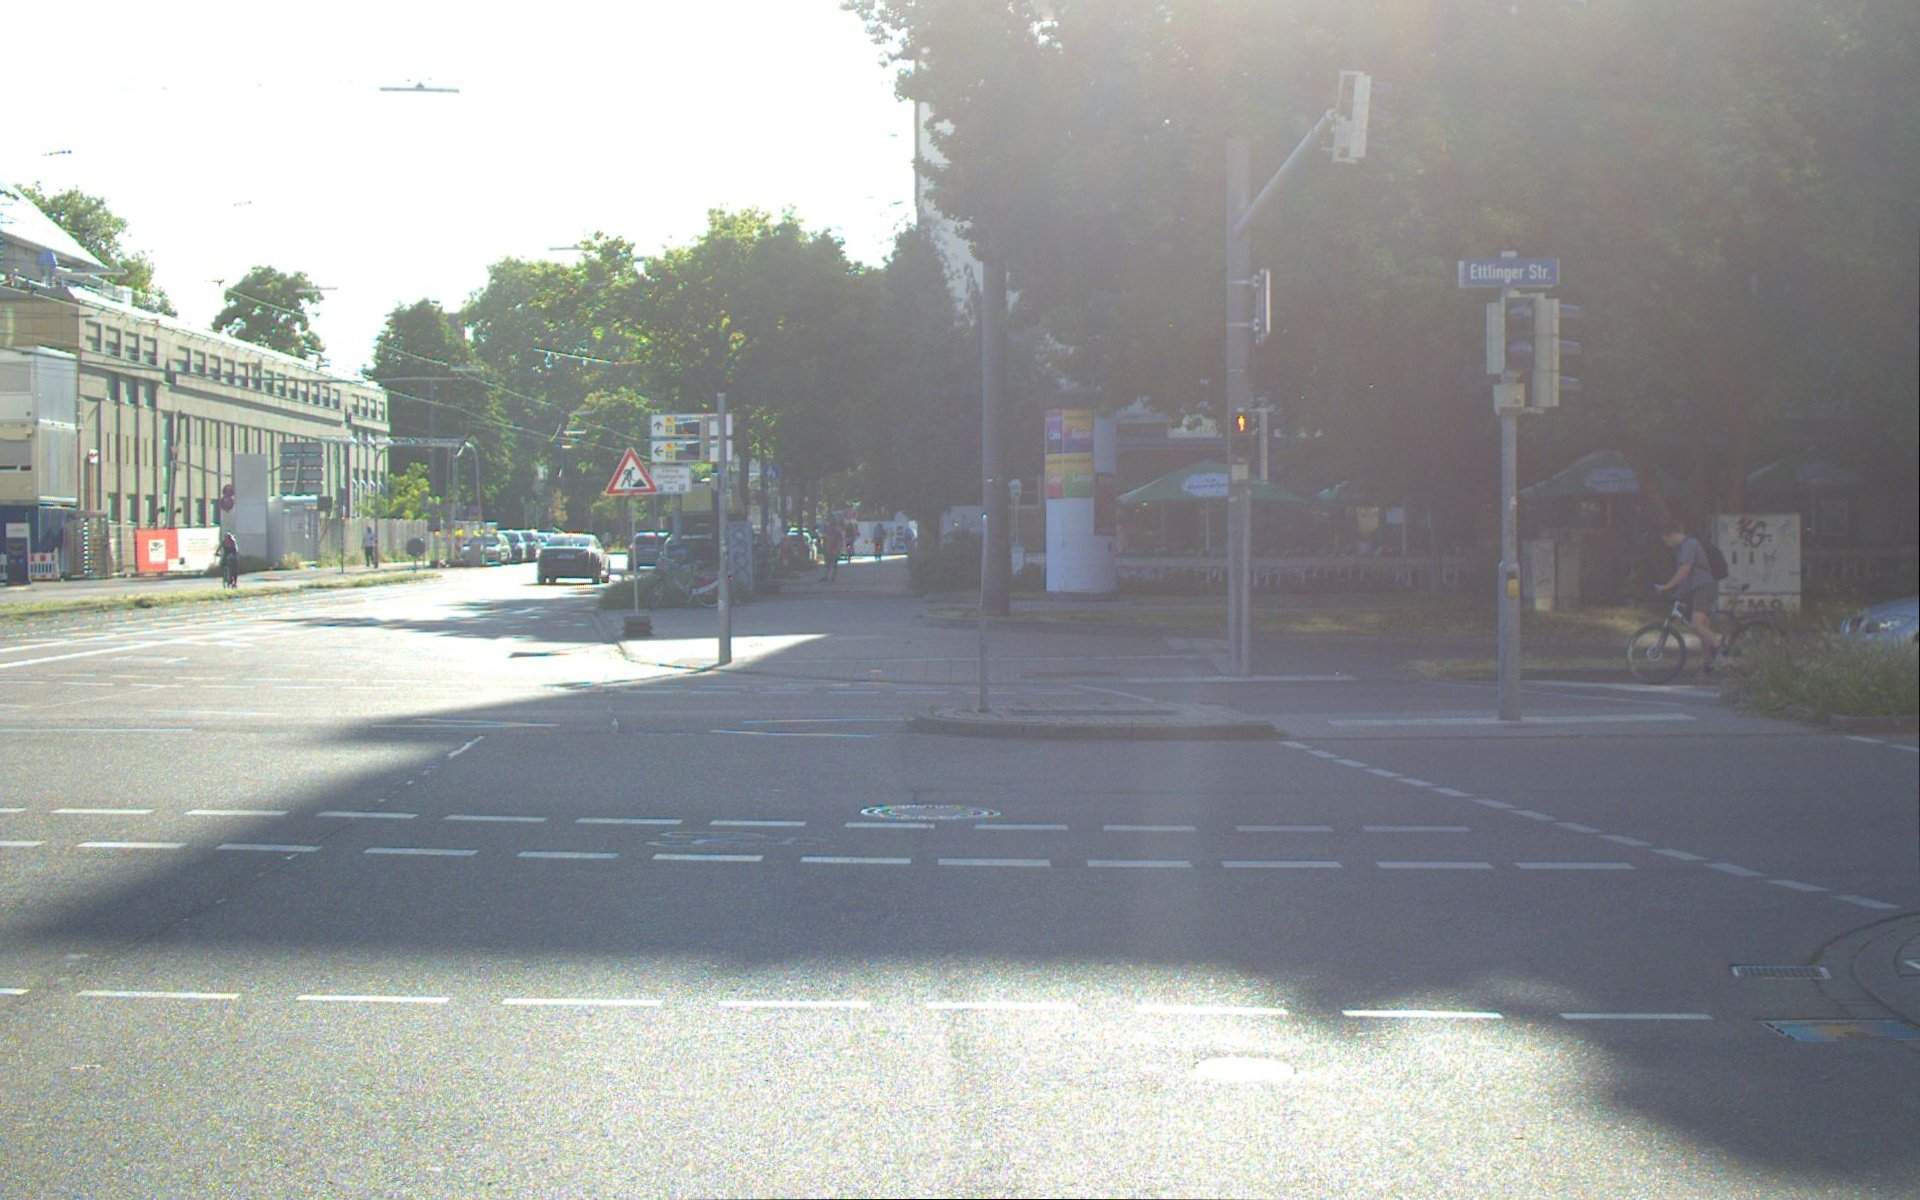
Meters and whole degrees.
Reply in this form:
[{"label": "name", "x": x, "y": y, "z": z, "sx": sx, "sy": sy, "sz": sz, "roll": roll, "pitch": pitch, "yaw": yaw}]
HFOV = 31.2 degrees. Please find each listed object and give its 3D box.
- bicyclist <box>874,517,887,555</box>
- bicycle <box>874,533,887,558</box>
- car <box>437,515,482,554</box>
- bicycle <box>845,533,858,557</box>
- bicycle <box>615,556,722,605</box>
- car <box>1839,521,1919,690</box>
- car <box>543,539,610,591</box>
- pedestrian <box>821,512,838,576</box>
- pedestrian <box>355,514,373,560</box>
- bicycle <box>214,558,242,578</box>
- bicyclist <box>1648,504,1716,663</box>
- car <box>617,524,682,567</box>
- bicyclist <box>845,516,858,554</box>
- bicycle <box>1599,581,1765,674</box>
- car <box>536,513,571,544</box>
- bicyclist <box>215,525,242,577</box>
[{"label": "bicyclist", "x": -3.525, "y": -2.846, "z": 153.232, "sx": 0.569, "sy": 1.685, "sz": 0.700, "roll": 0, "pitch": 1, "yaw": -1}, {"label": "bicycle", "x": -3.532, "y": -2.435, "z": 153.204, "sx": 0.575, "sy": 1.073, "sz": 1.831, "roll": 0, "pitch": 1, "yaw": -1}, {"label": "car", "x": -22.765, "y": -2.962, "z": 156.440, "sx": 1.692, "sy": 1.712, "sz": 4.248, "roll": 1, "pitch": 1, "yaw": -4}, {"label": "bicycle", "x": -4.831, "y": -2.453, "z": 153.115, "sx": 0.575, "sy": 1.073, "sz": 1.831, "roll": 0, "pitch": 1, "yaw": -1}, {"label": "bicycle", "x": -5.724, "y": -0.383, "z": 67.475, "sx": 2.018, "sy": 0.888, "sz": 0.650, "roll": -2, "pitch": 0, "yaw": 27}, {"label": "car", "x": 10.760, "y": 0.020, "z": 33.405, "sx": 3.993, "sy": 1.605, "sz": 1.650, "roll": -1, "pitch": 1, "yaw": -1}, {"label": "car", "x": -11.232, "y": -1.040, "z": 100.787, "sx": 1.660, "sy": 1.450, "sz": 4.433, "roll": 1, "pitch": 1, "yaw": -3}, {"label": "pedestrian", "x": -3.708, "y": -1.584, "z": 97.657, "sx": 0.463, "sy": 1.807, "sz": 0.503, "roll": -1, "pitch": 1, "yaw": -5}, {"label": "pedestrian", "x": -25.814, "y": -2.731, "z": 148.957, "sx": 0.674, "sy": 2.007, "sz": 0.751, "roll": 1, "pitch": 0, "yaw": -3}, {"label": "bicycle", "x": -19.379, "y": -0.857, "z": 91.059, "sx": 0.501, "sy": 0.513, "sz": 1.258, "roll": 1, "pitch": 1, "yaw": -1}, {"label": "bicyclist", "x": 7.645, "y": -0.176, "z": 36.423, "sx": 0.643, "sy": 1.677, "sz": 0.507, "roll": 0, "pitch": 1, "yaw": 5}, {"label": "car", "x": -11.992, "y": -2.128, "z": 133.108, "sx": 1.892, "sy": 1.560, "sz": 4.808, "roll": 3, "pitch": 1, "yaw": 2}, {"label": "bicyclist", "x": -4.836, "y": -2.913, "z": 153.082, "sx": 0.569, "sy": 1.685, "sz": 0.700, "roll": 0, "pitch": 1, "yaw": -1}, {"label": "bicycle", "x": 7.646, "y": 0.287, "z": 36.427, "sx": 1.667, "sy": 0.960, "sz": 0.533, "roll": 0, "pitch": 1, "yaw": 5}, {"label": "car", "x": -23.003, "y": -4.026, "z": 194.685, "sx": 1.692, "sy": 1.712, "sz": 4.248, "roll": 1, "pitch": 1, "yaw": -4}, {"label": "bicyclist", "x": -19.381, "y": -1.294, "z": 91.093, "sx": 0.596, "sy": 1.372, "sz": 0.638, "roll": 1, "pitch": 0, "yaw": -2}]
